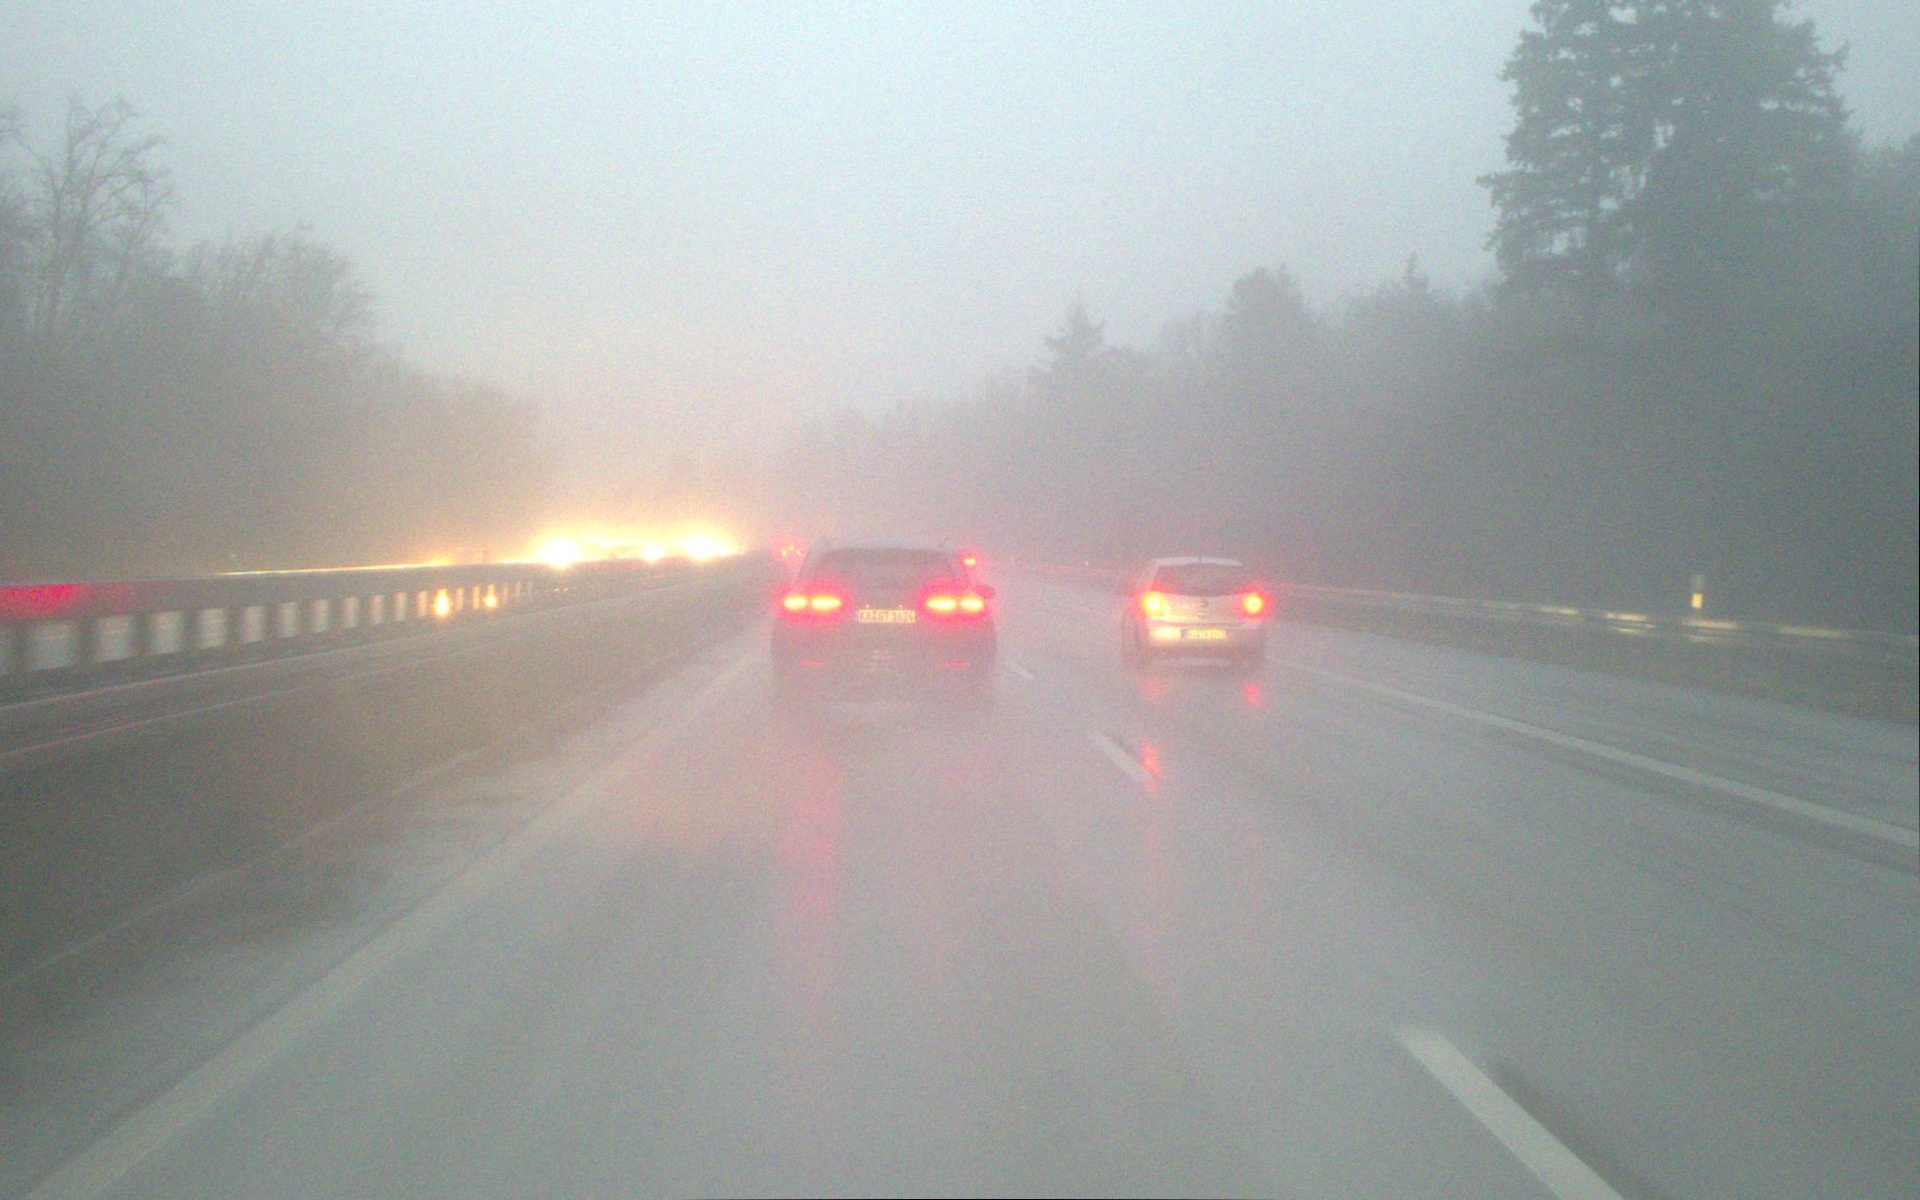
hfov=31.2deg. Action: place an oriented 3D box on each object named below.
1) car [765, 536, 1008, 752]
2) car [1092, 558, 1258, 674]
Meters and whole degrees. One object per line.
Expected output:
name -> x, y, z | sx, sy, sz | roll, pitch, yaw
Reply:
car -> -0.610, 0.326, 30.298 | 1.986, 1.761, 4.173 | 0, 1, 0
car -> 2.762, 0.177, 44.828 | 1.780, 1.432, 3.537 | 1, 1, -2
